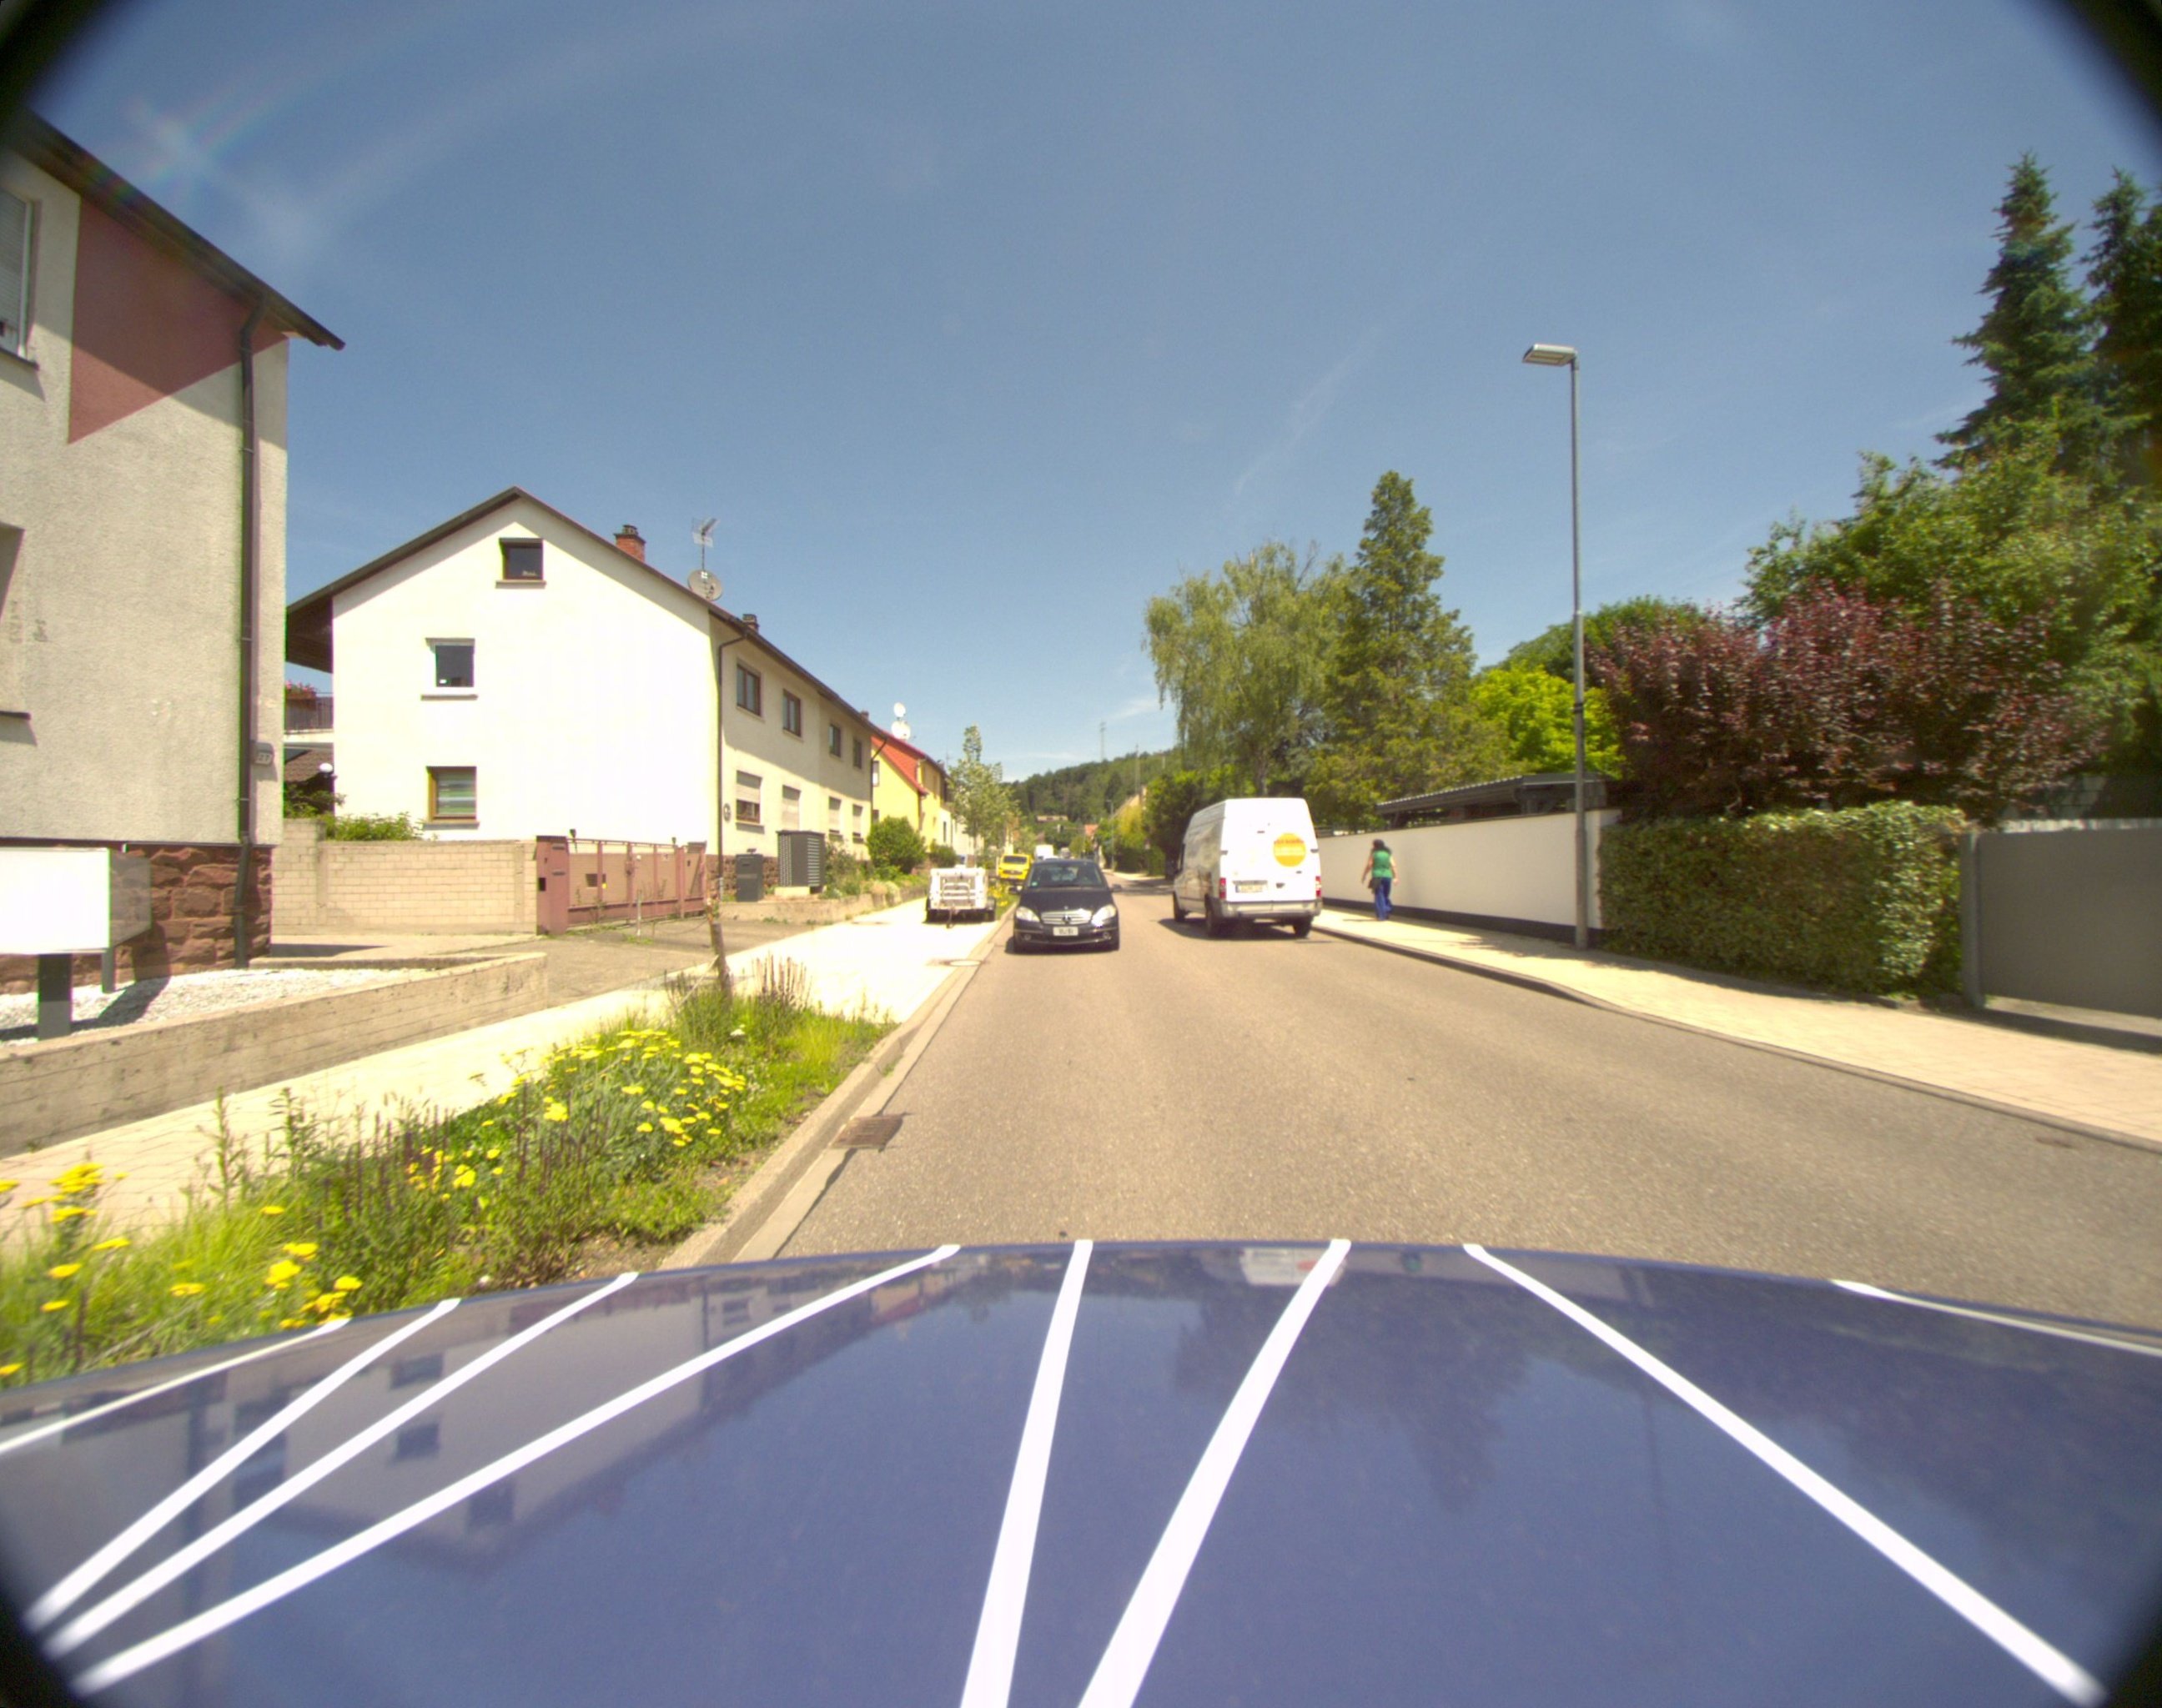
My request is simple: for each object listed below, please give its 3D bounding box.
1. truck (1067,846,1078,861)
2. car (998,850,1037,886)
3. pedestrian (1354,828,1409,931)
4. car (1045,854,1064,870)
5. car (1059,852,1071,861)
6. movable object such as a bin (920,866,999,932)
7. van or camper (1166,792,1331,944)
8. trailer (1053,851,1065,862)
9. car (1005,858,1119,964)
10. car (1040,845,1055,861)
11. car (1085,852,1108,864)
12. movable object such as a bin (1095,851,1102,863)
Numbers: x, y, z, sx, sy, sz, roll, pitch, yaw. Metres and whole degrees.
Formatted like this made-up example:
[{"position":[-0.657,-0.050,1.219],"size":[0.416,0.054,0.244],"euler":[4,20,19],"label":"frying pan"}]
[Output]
[{"position":[-2.100,-0.140,183.616],"size":[2.548,3.716,8.620],"euler":[0,0,0],"label":"truck"},{"position":[-3.967,0.849,48.410],"size":[2.196,2.002,5.620],"euler":[3,1,-3],"label":"car"},{"position":[6.096,0.499,15.436],"size":[0.722,2.002,0.804],"euler":[-2,1,-3],"label":"pedestrian"},{"position":[-3.015,0.862,87.093],"size":[1.999,1.716,3.998],"euler":[-3,0,-3],"label":"car"},{"position":[-2.869,0.471,135.936],"size":[1.872,1.643,3.948],"euler":[-2,0,-2],"label":"car"},{"position":[-2.916,1.036,18.724],"size":[1.576,1.408,3.040],"euler":[0,1,-3],"label":"movable object such as a bin"},{"position":[3.346,0.250,16.547],"size":[2.043,2.697,5.822],"euler":[-1,0,-3],"label":"van or camper"},{"position":[-4.487,0.417,152.596],"size":[2.162,1.975,6.198],"euler":[-2,1,-4],"label":"trailer"},{"position":[-0.338,0.928,14.618],"size":[1.767,1.572,4.929],"euler":[-2,1,-1],"label":"car"},{"position":[-4.768,-0.179,108.332],"size":[1.987,2.170,3.999],"euler":[-2,1,-2],"label":"car"},{"position":[2.653,0.666,130.435],"size":[3.607,1.780,1.847],"euler":[-2,1,-3],"label":"car"},{"position":[2.852,0.499,124.540],"size":[1.062,2.002,1.322],"euler":[-2,1,-2],"label":"movable object such as a bin"}]
